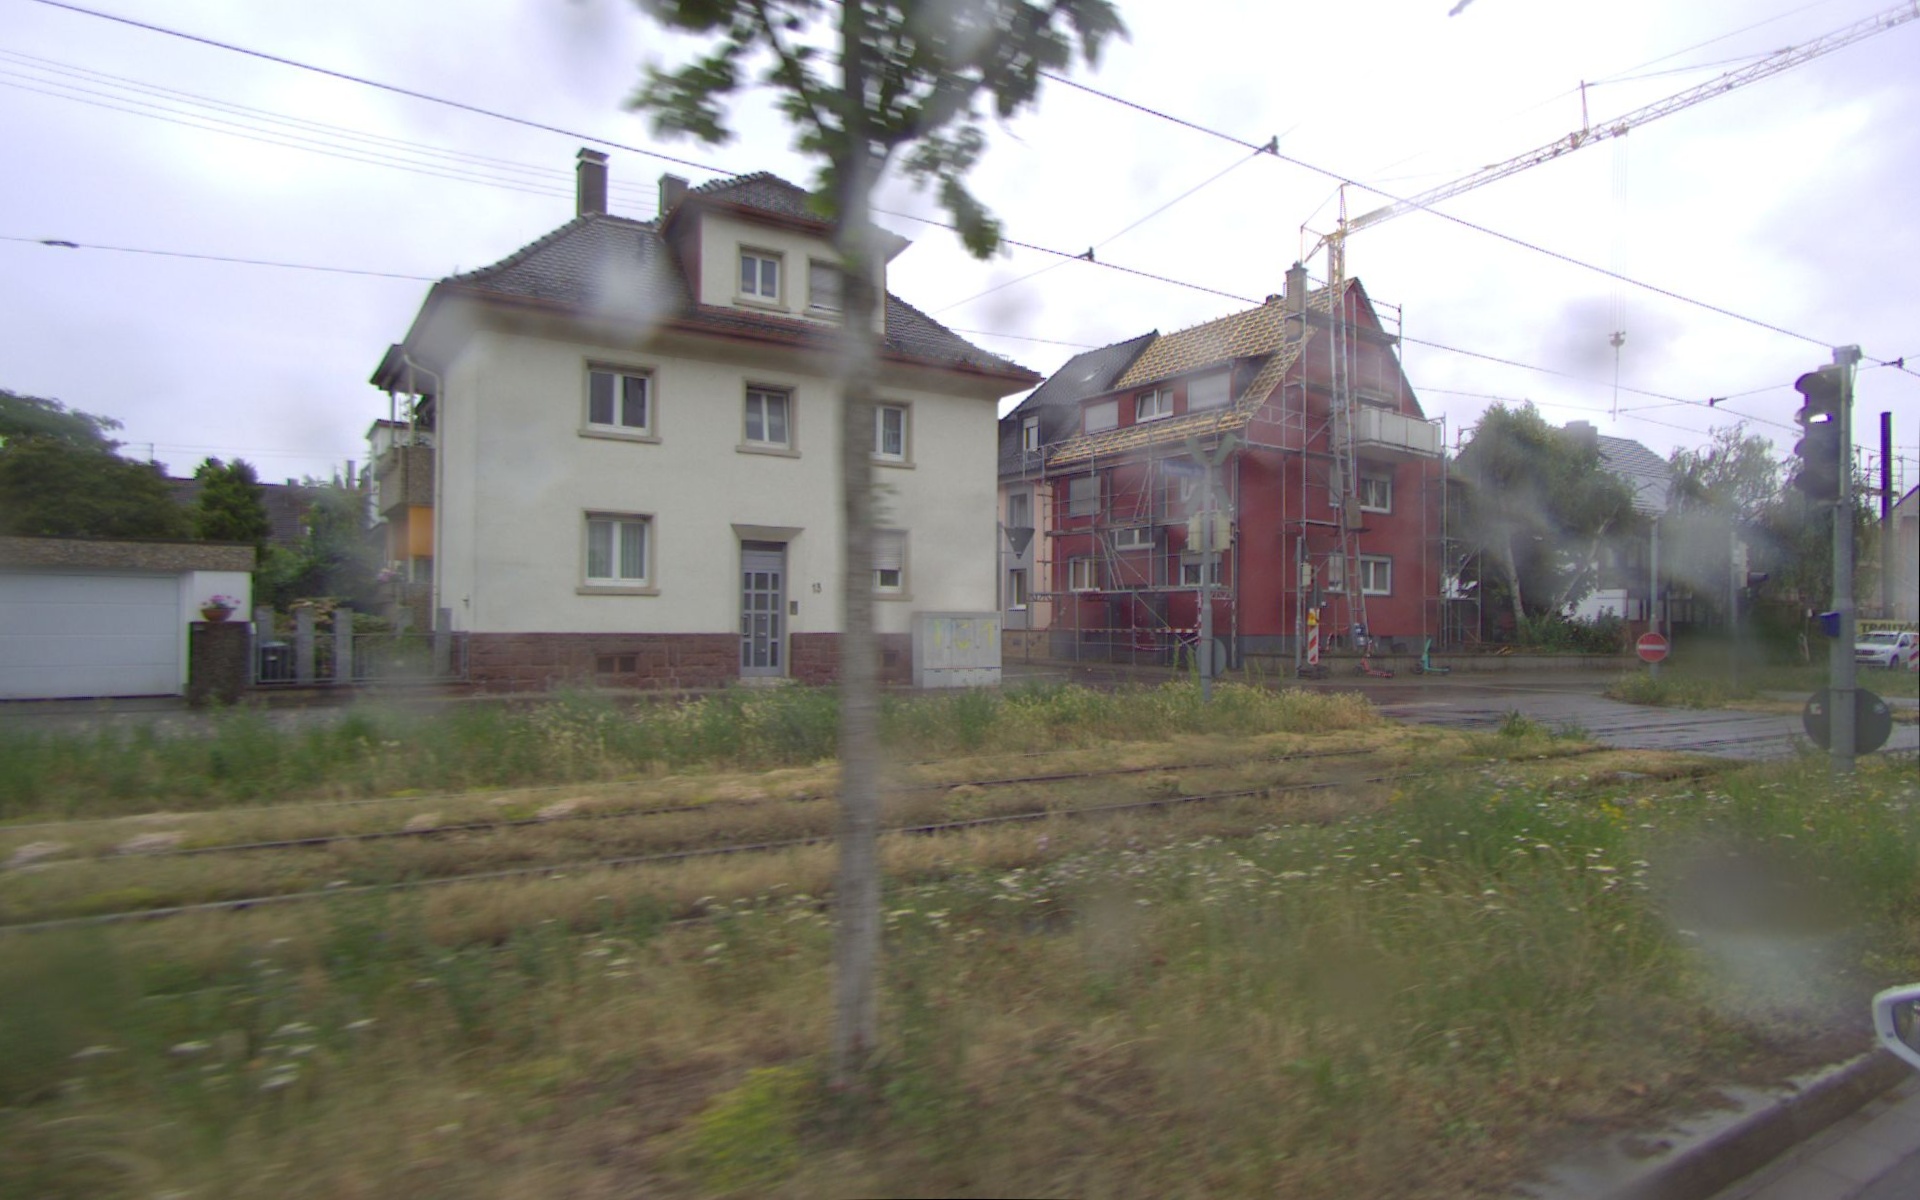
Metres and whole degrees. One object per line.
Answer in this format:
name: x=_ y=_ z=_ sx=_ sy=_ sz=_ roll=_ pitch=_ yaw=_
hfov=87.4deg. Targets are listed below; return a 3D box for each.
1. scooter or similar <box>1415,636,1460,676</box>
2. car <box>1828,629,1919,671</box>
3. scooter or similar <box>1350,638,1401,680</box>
scooter or similar: x=14.252 y=1.672 z=29.974 sx=1.261 sy=1.196 sz=0.394 roll=1 pitch=-1 yaw=-14
car: x=37.404 y=2.015 z=40.840 sx=4.365 sy=1.563 sz=1.703 roll=1 pitch=1 yaw=-28
scooter or similar: x=11.693 y=1.651 z=28.264 sx=1.257 sy=1.144 sz=0.441 roll=1 pitch=-1 yaw=1
